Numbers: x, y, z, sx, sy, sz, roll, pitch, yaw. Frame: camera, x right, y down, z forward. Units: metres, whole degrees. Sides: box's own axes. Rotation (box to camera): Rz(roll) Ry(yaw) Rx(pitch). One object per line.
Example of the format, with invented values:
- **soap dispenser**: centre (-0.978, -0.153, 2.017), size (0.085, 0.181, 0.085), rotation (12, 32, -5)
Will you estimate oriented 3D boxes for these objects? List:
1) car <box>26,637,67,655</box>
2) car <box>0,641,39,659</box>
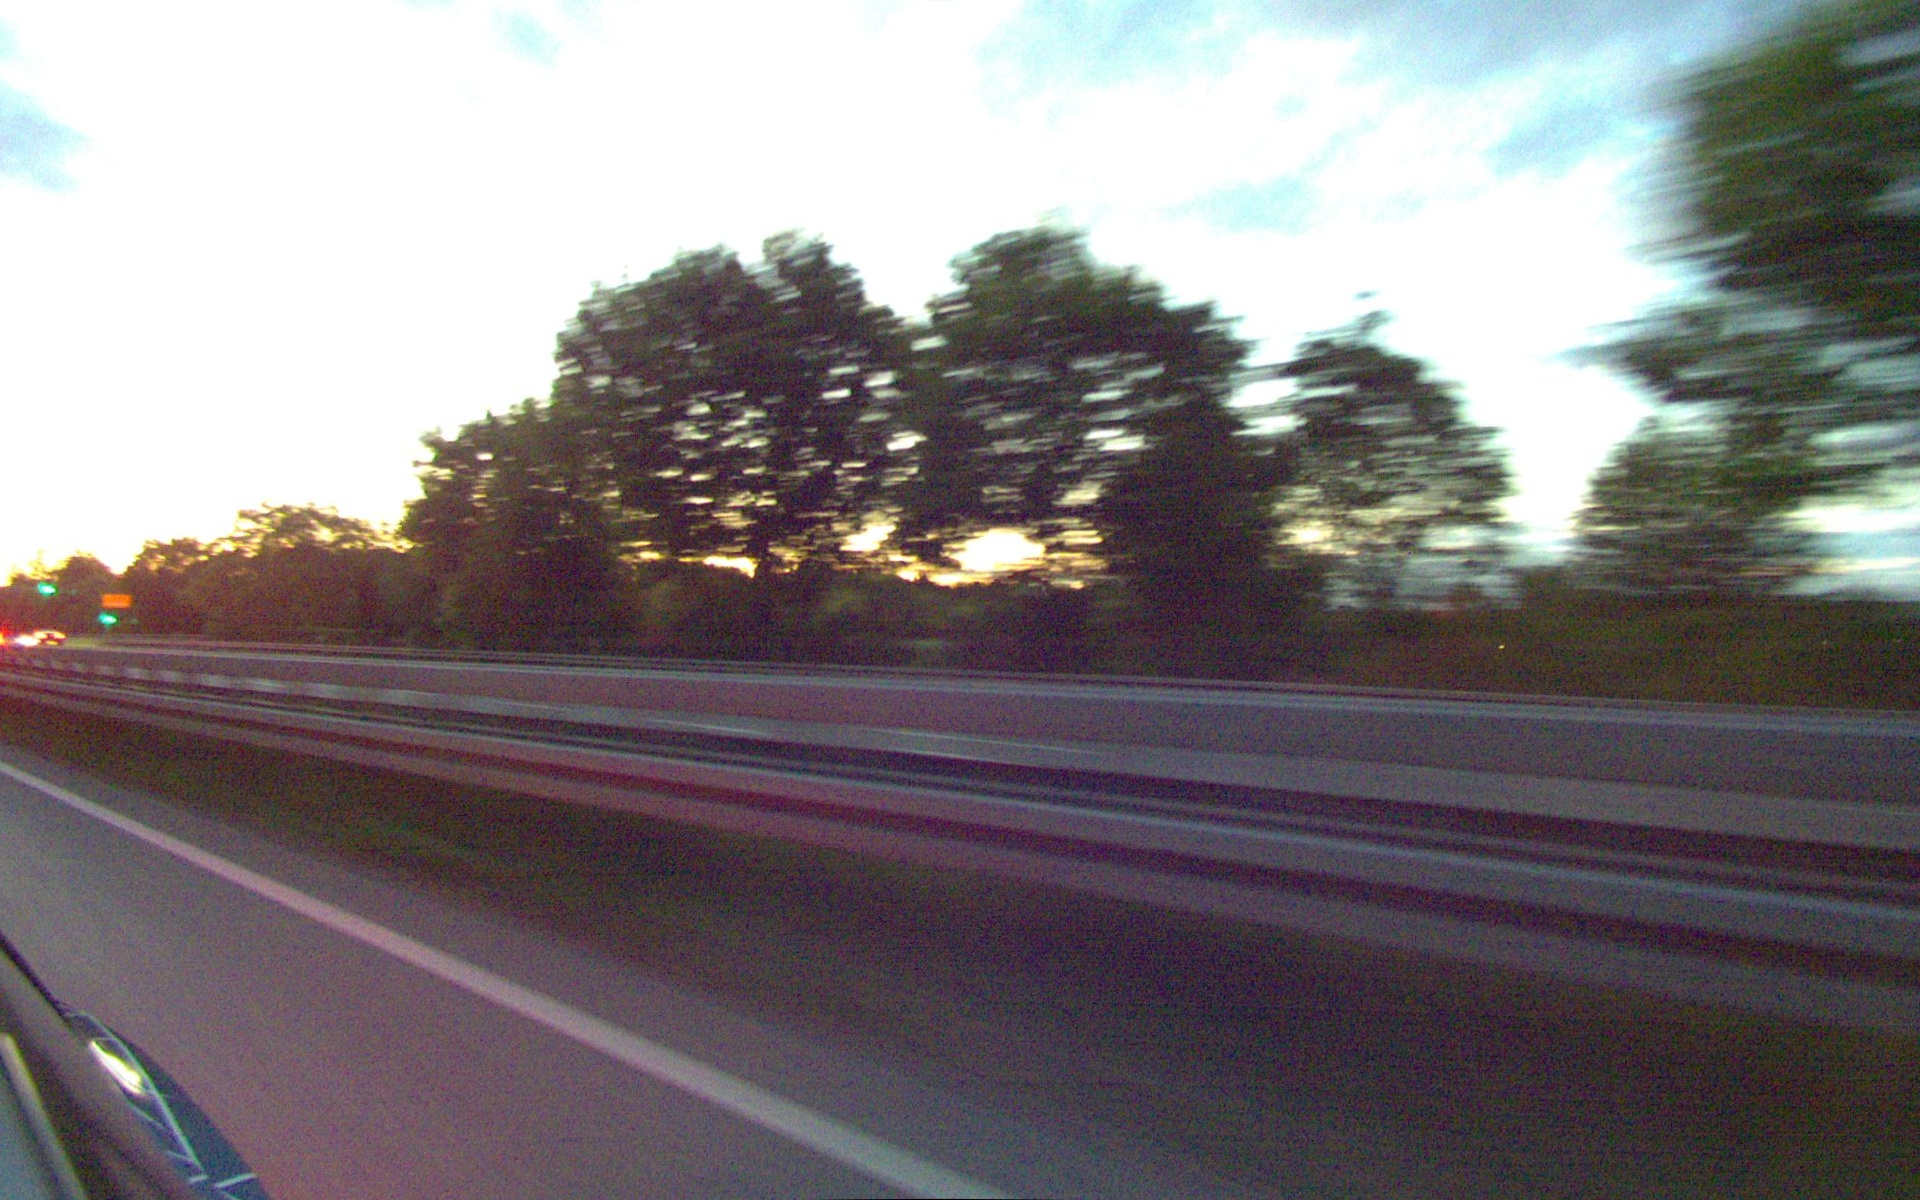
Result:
- **car**: centre (-76.425, 3.805, 84.666), size (4.731, 1.464, 1.973), rotation (-2, -3, 41)
- **car**: centre (-81.451, 4.312, 87.511), size (4.730, 1.464, 1.973), rotation (-3, -3, 40)
